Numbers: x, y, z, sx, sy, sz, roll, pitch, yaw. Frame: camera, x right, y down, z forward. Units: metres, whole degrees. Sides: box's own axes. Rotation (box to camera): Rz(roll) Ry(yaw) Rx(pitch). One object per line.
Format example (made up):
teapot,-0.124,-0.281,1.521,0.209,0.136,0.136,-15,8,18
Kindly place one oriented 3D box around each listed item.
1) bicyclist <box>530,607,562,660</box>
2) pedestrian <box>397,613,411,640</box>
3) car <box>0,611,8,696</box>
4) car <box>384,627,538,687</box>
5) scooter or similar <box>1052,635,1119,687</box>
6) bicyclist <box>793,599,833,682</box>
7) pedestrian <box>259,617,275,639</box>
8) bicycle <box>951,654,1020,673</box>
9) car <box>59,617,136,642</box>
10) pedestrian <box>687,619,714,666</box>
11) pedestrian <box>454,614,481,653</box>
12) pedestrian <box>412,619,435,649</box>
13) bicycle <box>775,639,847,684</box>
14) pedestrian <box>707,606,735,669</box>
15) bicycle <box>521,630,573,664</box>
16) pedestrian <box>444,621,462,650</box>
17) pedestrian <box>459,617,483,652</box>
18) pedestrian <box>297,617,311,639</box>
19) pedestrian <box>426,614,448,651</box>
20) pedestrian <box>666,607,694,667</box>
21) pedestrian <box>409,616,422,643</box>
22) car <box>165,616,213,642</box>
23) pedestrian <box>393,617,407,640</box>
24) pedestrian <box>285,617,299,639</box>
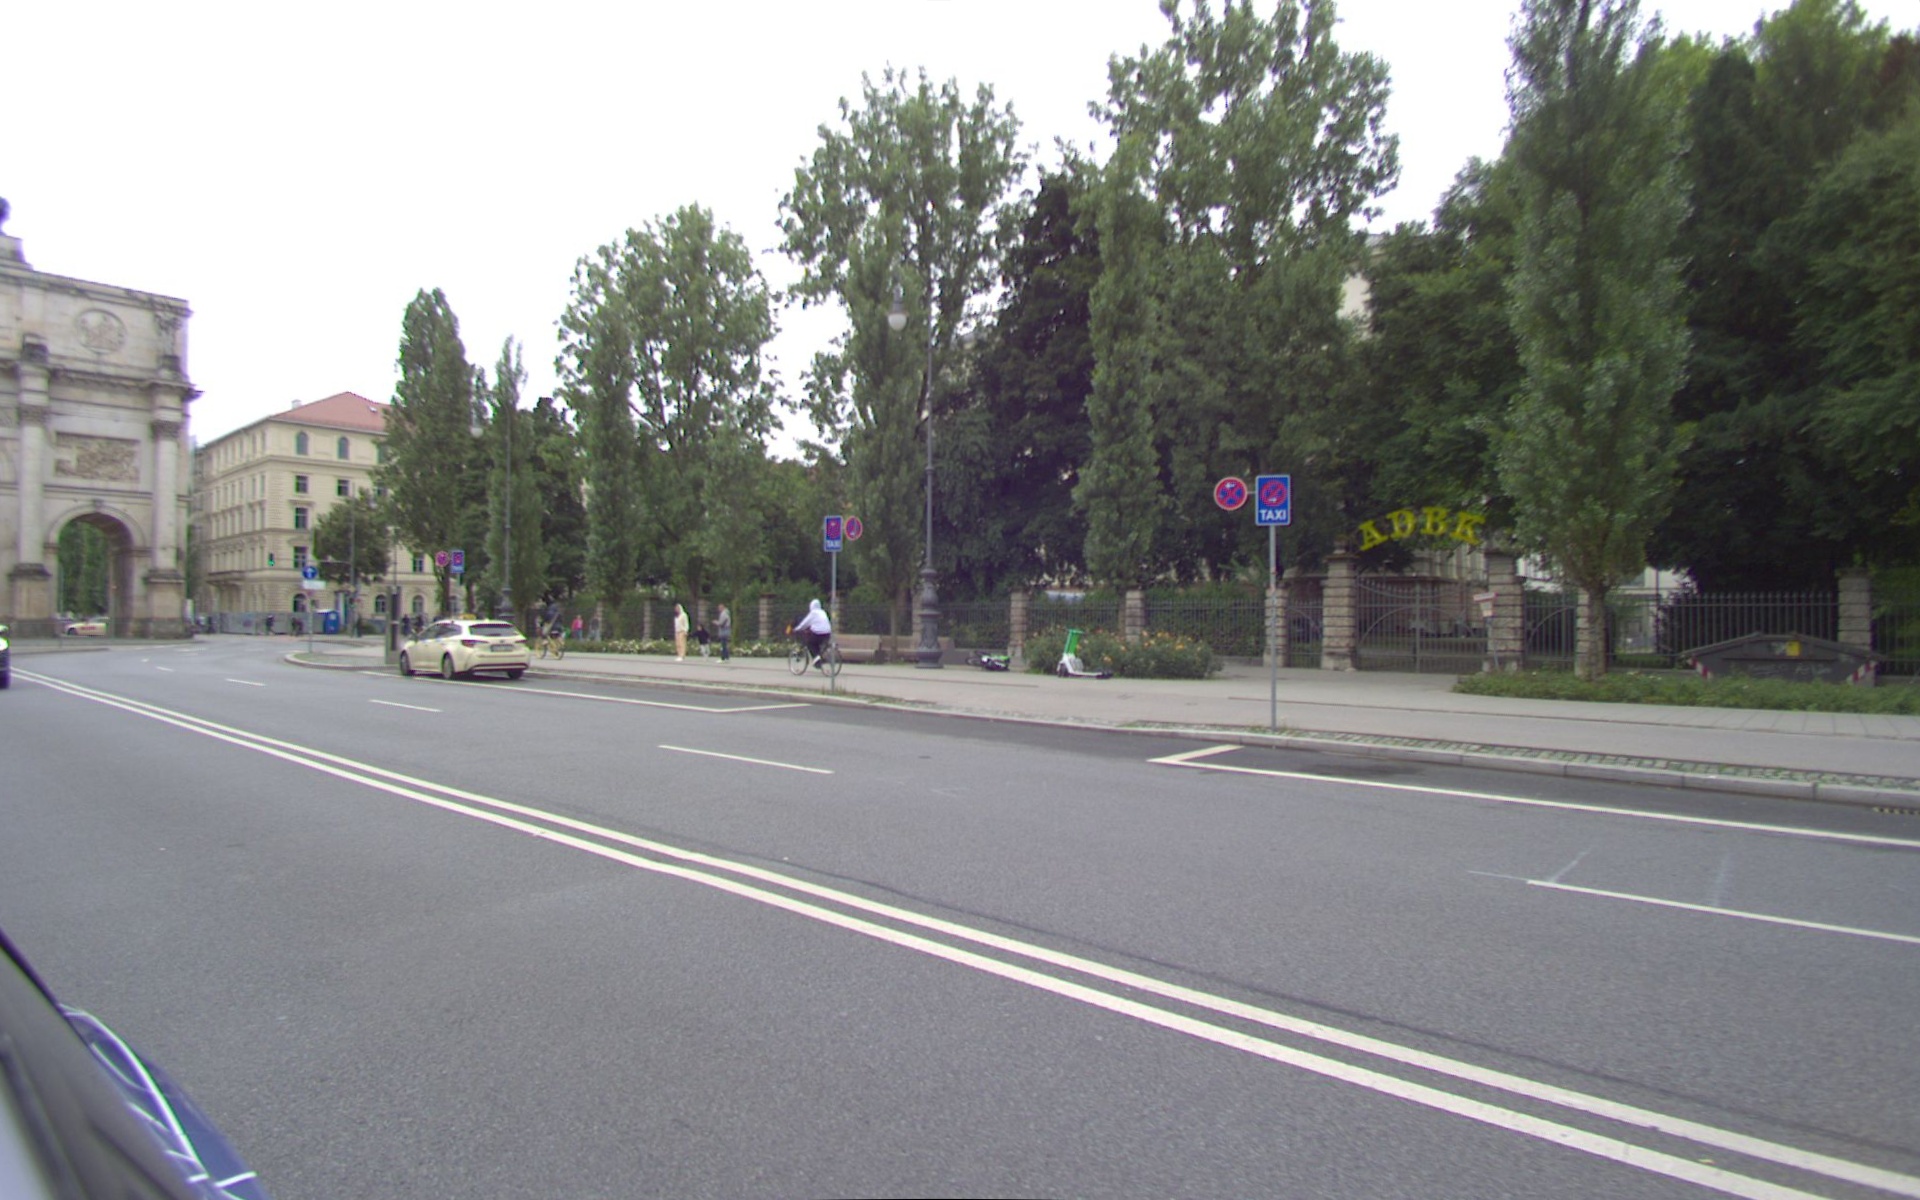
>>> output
bicyclist,-12.666,1.013,30.959,0.660,1.604,0.639,-1,-1,39
pedestrian,-42.169,2.013,76.793,0.758,2.029,0.888,1,-2,-40
car,-20.289,1.026,19.912,4.182,1.598,1.817,-1,-2,40
car,-12.493,1.357,25.215,4.465,1.347,1.774,-1,-2,40
scooter or similar,2.993,1.440,24.177,1.414,1.187,0.738,-1,-3,37
bicyclist,-3.339,0.911,22.922,0.660,1.837,0.583,-1,-1,40
pedestrian,-60.367,2.431,88.157,1.017,1.836,0.883,1,-2,-41
bicycle,0.734,1.765,28.277,1.331,0.456,2.203,-1,-2,19
car,-62.826,2.147,73.730,3.946,1.763,1.999,0,-1,2
pedestrian,-7.735,1.255,30.146,0.581,1.386,0.527,-1,-2,30
pedestrian,-22.134,1.493,45.474,0.945,1.731,1.033,0,0,-36
pedestrian,-28.311,1.788,53.408,0.875,1.528,1.032,0,0,-39
bicycle,-3.402,1.380,22.980,1.912,0.959,0.464,-1,-1,41
pedestrian,-6.737,1.055,28.549,0.581,1.744,0.527,-1,-2,30
bicycle,-12.641,1.424,30.936,1.912,0.959,0.666,-1,-1,41
pedestrian,-27.032,1.884,53.944,0.718,1.528,0.843,0,0,-38
pedestrian,-26.380,1.846,54.572,0.976,1.885,1.032,0,0,-38
pedestrian,-55.891,2.361,86.218,0.868,1.836,0.687,1,-2,-40
pedestrian,-25.260,1.576,48.900,0.944,1.731,1.034,-1,0,-27
pedestrian,-8.206,1.084,29.639,0.581,1.744,0.527,-1,-2,30
pedestrian,-41.619,2.234,77.356,0.758,2.029,0.888,1,-2,-40
car,-55.772,2.109,73.215,3.997,1.829,1.973,-1,-2,41
pedestrian,-44.557,2.264,80.570,0.868,1.836,0.687,1,-2,-40
pedestrian,-56.238,2.363,85.216,0.868,1.836,0.687,1,-2,-40
